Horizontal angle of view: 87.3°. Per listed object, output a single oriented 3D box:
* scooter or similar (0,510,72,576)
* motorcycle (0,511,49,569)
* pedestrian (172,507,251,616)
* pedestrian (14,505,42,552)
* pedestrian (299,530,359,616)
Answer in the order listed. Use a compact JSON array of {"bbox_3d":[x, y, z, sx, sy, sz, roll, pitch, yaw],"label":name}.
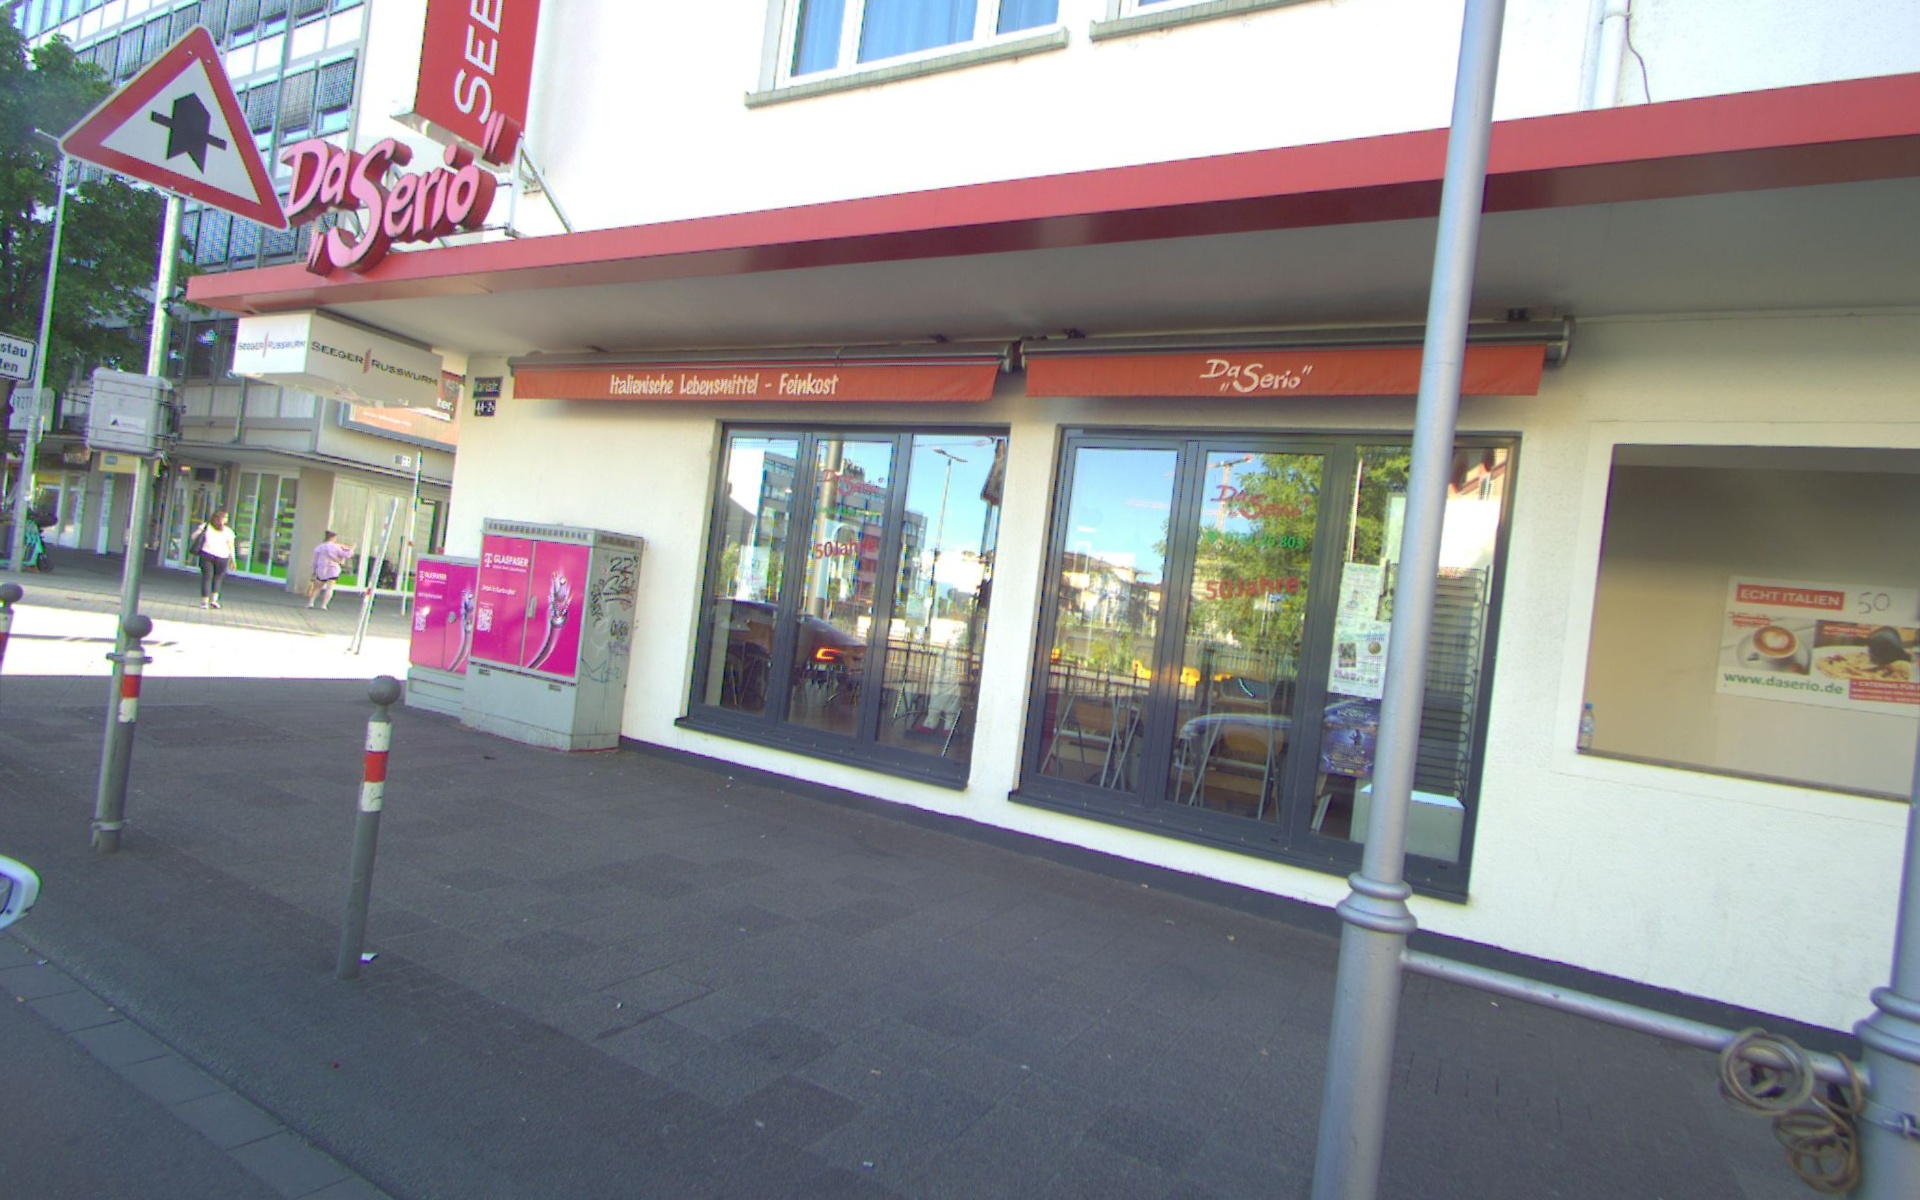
[{"bbox_3d":[-19.936,-1.231,21.174,1.628,1.229,0.640,8,-1,-29],"label":"scooter or similar"},{"bbox_3d":[-21.565,-1.409,22.403,0.532,1.186,1.711,7,-2,30],"label":"motorcycle"},{"bbox_3d":[-13.303,-0.679,17.914,0.909,1.772,1.029,8,-1,-35],"label":"pedestrian"},{"bbox_3d":[-28.509,-2.194,30.766,0.504,1.359,0.390,6,-1,34],"label":"pedestrian"},{"bbox_3d":[-13.531,-0.575,21.555,0.884,1.687,0.801,8,-1,-35],"label":"pedestrian"}]
